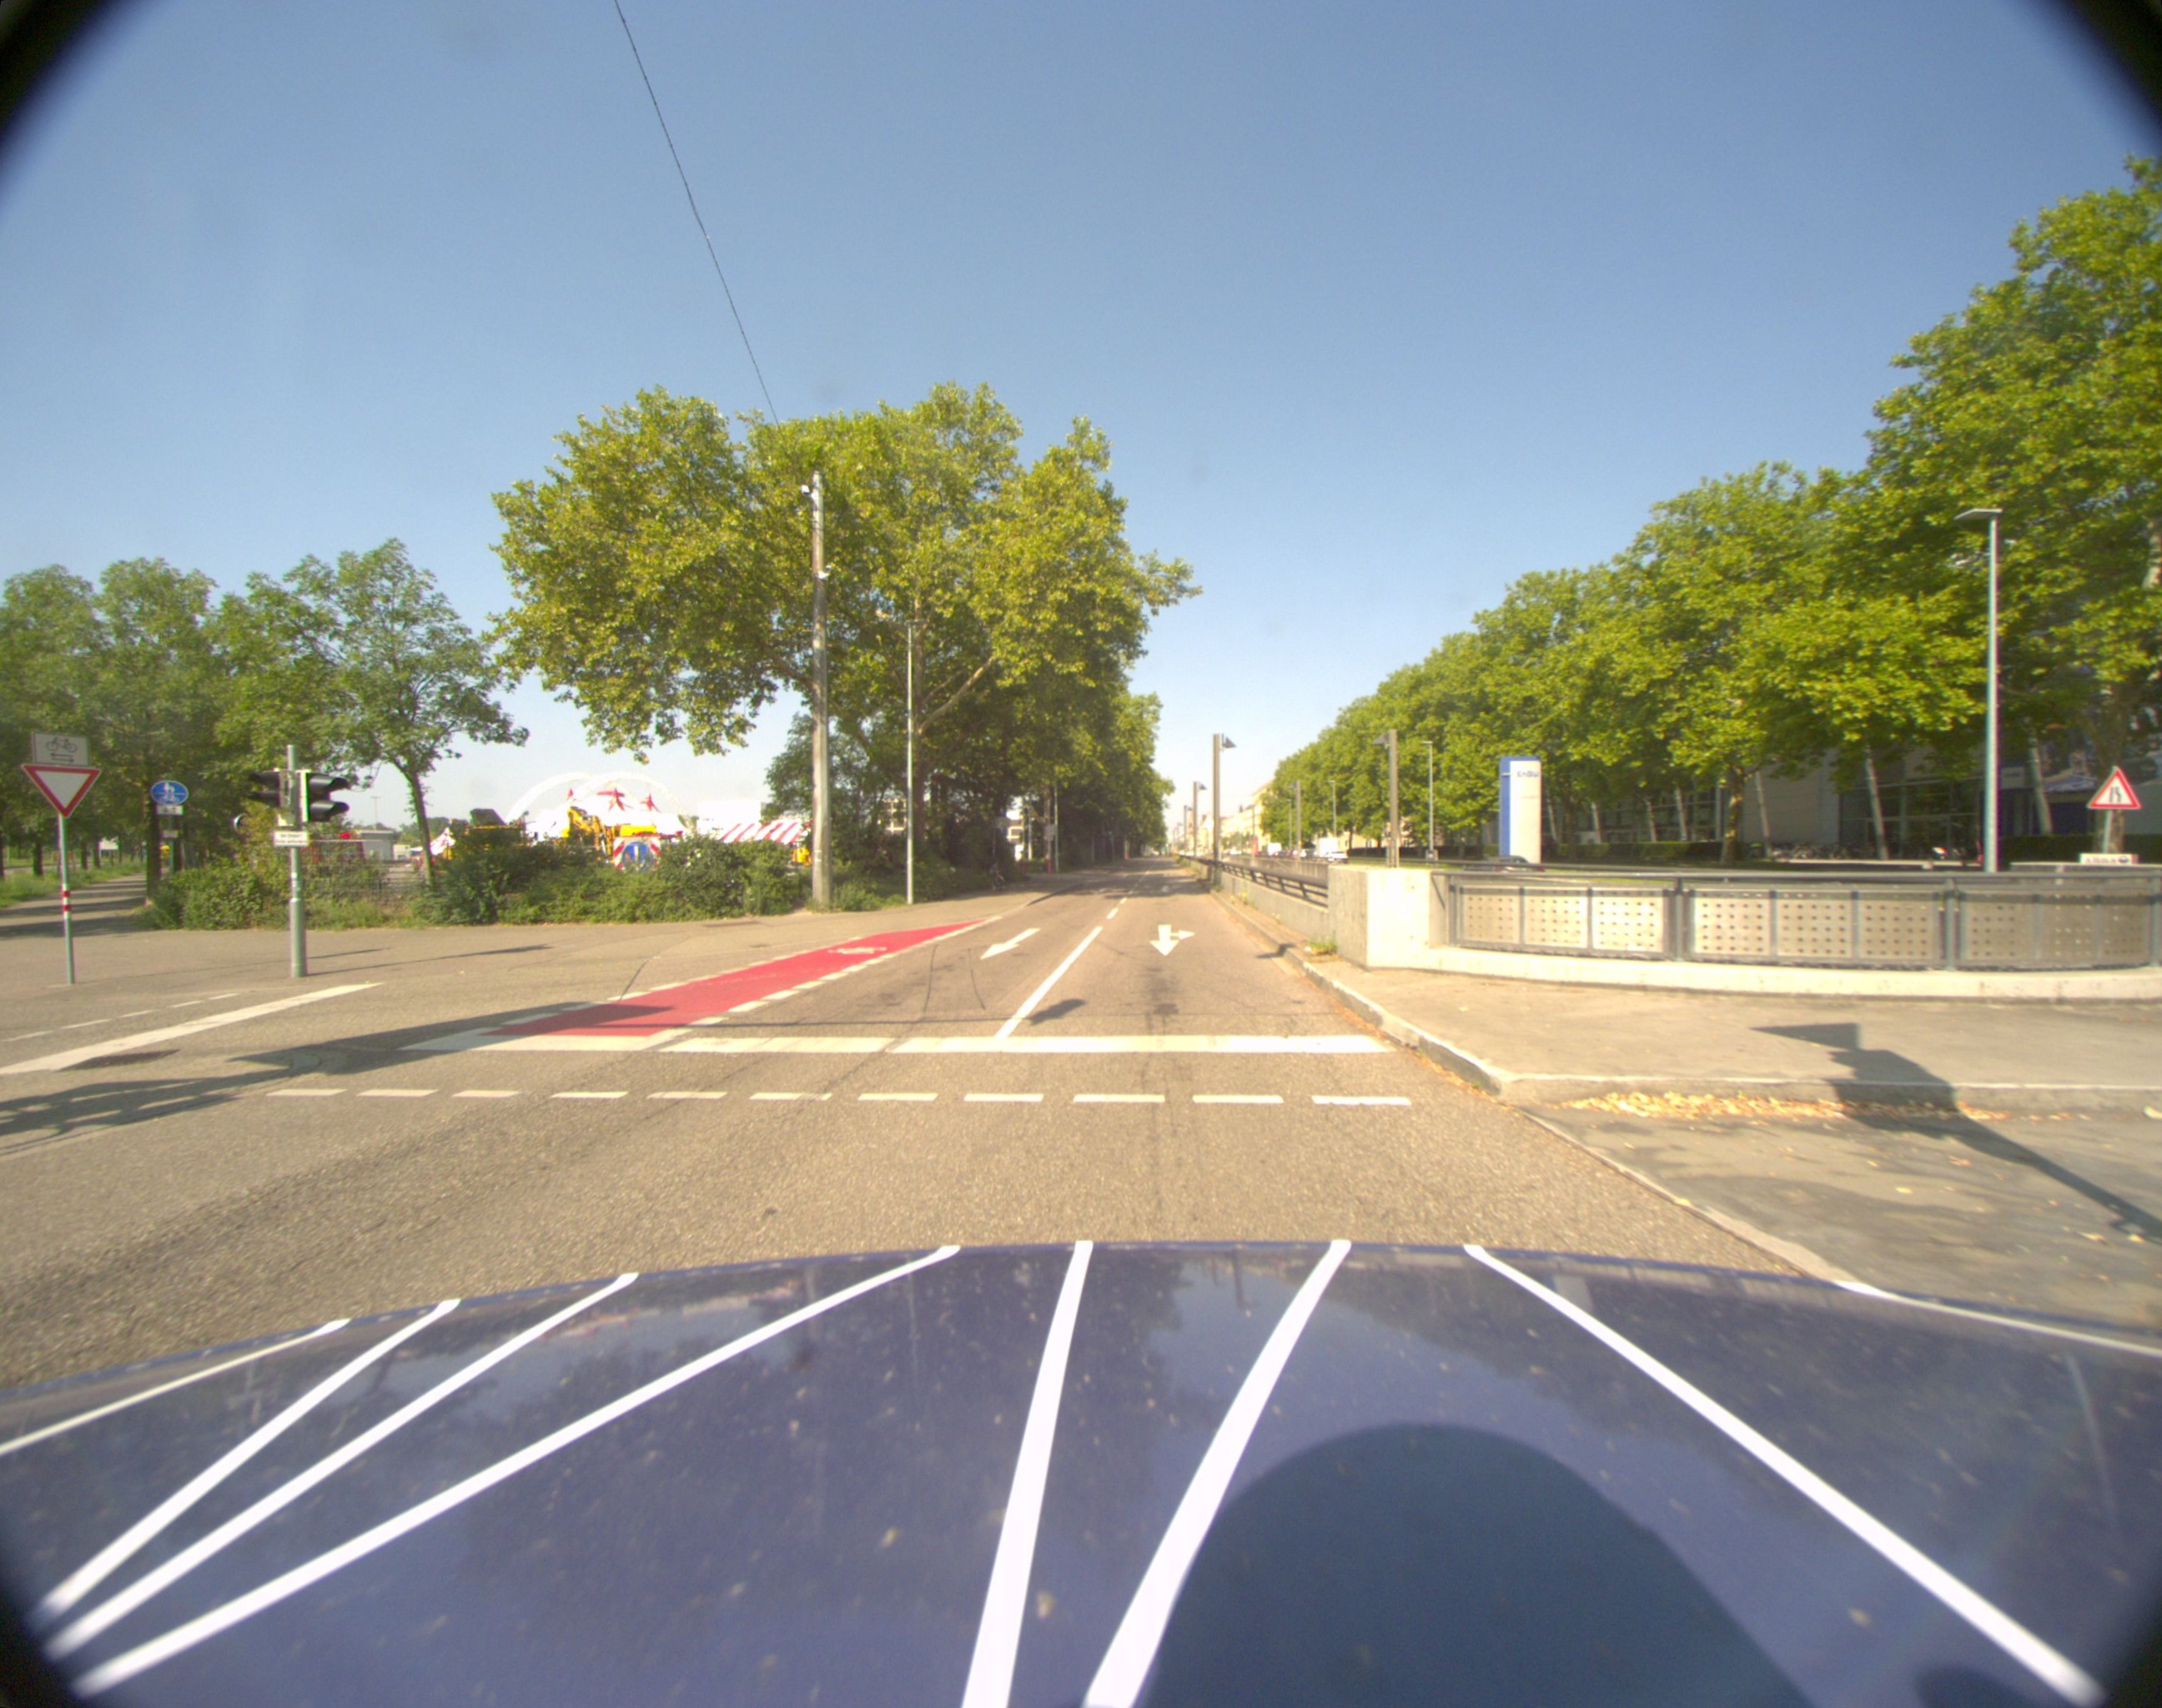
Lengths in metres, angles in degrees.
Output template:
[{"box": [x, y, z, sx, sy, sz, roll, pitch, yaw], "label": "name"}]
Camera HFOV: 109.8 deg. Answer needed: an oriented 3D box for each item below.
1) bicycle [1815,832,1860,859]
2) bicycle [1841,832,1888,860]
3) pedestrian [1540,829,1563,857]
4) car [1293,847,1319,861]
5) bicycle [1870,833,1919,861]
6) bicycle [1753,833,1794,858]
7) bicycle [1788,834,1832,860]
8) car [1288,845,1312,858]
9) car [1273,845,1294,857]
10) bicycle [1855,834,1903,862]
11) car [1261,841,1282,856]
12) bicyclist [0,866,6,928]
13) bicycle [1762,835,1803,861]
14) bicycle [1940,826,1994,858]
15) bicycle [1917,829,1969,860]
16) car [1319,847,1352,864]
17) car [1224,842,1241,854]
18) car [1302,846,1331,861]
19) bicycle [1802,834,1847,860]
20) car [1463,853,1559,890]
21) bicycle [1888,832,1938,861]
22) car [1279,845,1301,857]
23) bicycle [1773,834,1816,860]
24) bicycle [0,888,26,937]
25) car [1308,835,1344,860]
[{"box": [46.557, -0.507, 46.760, 2.168, 1.546, 0.600, -3, 1, -1], "label": "bicycle"}, {"box": [47.077, -0.475, 45.667, 2.168, 1.546, 0.600, -3, 1, -1], "label": "bicycle"}, {"box": [35.717, -0.837, 57.720, 0.948, 2.002, 1.349, -3, 1, 8], "label": "pedestrian"}, {"box": [25.090, -0.017, 84.897, 1.998, 1.444, 4.001, -3, 1, 5], "label": "car"}, {"box": [47.155, -0.399, 44.052, 2.168, 1.546, 0.600, -3, 1, -1], "label": "bicycle"}, {"box": [46.464, -0.570, 51.005, 2.168, 1.546, 0.600, -3, 1, -1], "label": "bicycle"}, {"box": [46.451, -0.430, 48.435, 2.168, 1.546, 0.600, -3, 1, -1], "label": "bicycle"}, {"box": [26.142, -0.338, 90.949, 1.998, 1.444, 4.001, -3, 1, 5], "label": "car"}, {"box": [26.964, -0.370, 101.043, 1.998, 1.444, 4.001, -3, 1, 5], "label": "car"}, {"box": [47.134, -0.353, 44.887, 2.168, 1.546, 0.600, -3, 1, -1], "label": "bicycle"}, {"box": [28.307, -0.848, 113.001, 2.290, 2.067, 4.657, -3, 1, 5], "label": "car"}, {"box": [-23.992, 0.955, 16.444, 0.503, 1.356, 0.695, -3, 1, -26], "label": "bicyclist"}, {"box": [46.466, -0.395, 50.350, 2.168, 1.546, 0.600, -3, 1, -1], "label": "bicycle"}, {"box": [47.236, -0.634, 40.519, 2.168, 1.630, 0.600, -3, 1, -1], "label": "bicycle"}, {"box": [47.204, -0.527, 41.608, 2.168, 1.546, 0.600, -3, 1, -1], "label": "bicycle"}, {"box": [23.306, 0.095, 69.708, 1.998, 1.444, 4.001, -3, 1, 5], "label": "car"}, {"box": [25.515, -1.028, 128.099, 1.998, 2.002, 4.000, -3, 1, 1], "label": "car"}, {"box": [24.605, -0.046, 79.568, 1.998, 1.444, 4.001, -3, 1, 5], "label": "car"}, {"box": [46.535, -0.444, 47.557, 2.168, 1.546, 0.600, -3, 1, -1], "label": "bicycle"}, {"box": [16.314, 0.634, 29.046, 1.660, 1.214, 3.895, -3, 0, 4], "label": "car"}, {"box": [47.104, -0.439, 43.031, 2.168, 1.546, 0.600, -3, 1, -1], "label": "bicycle"}, {"box": [26.600, -0.366, 96.656, 1.998, 1.444, 4.001, -3, 1, 5], "label": "car"}, {"box": [46.456, -0.448, 49.484, 2.168, 1.546, 0.600, -3, 1, -1], "label": "bicycle"}, {"box": [-24.007, 1.317, 16.519, 0.573, 1.050, 1.490, -4, 1, -27], "label": "bicycle"}, {"box": [24.023, -0.647, 74.683, 2.290, 2.220, 4.657, -3, 1, 5], "label": "car"}]
